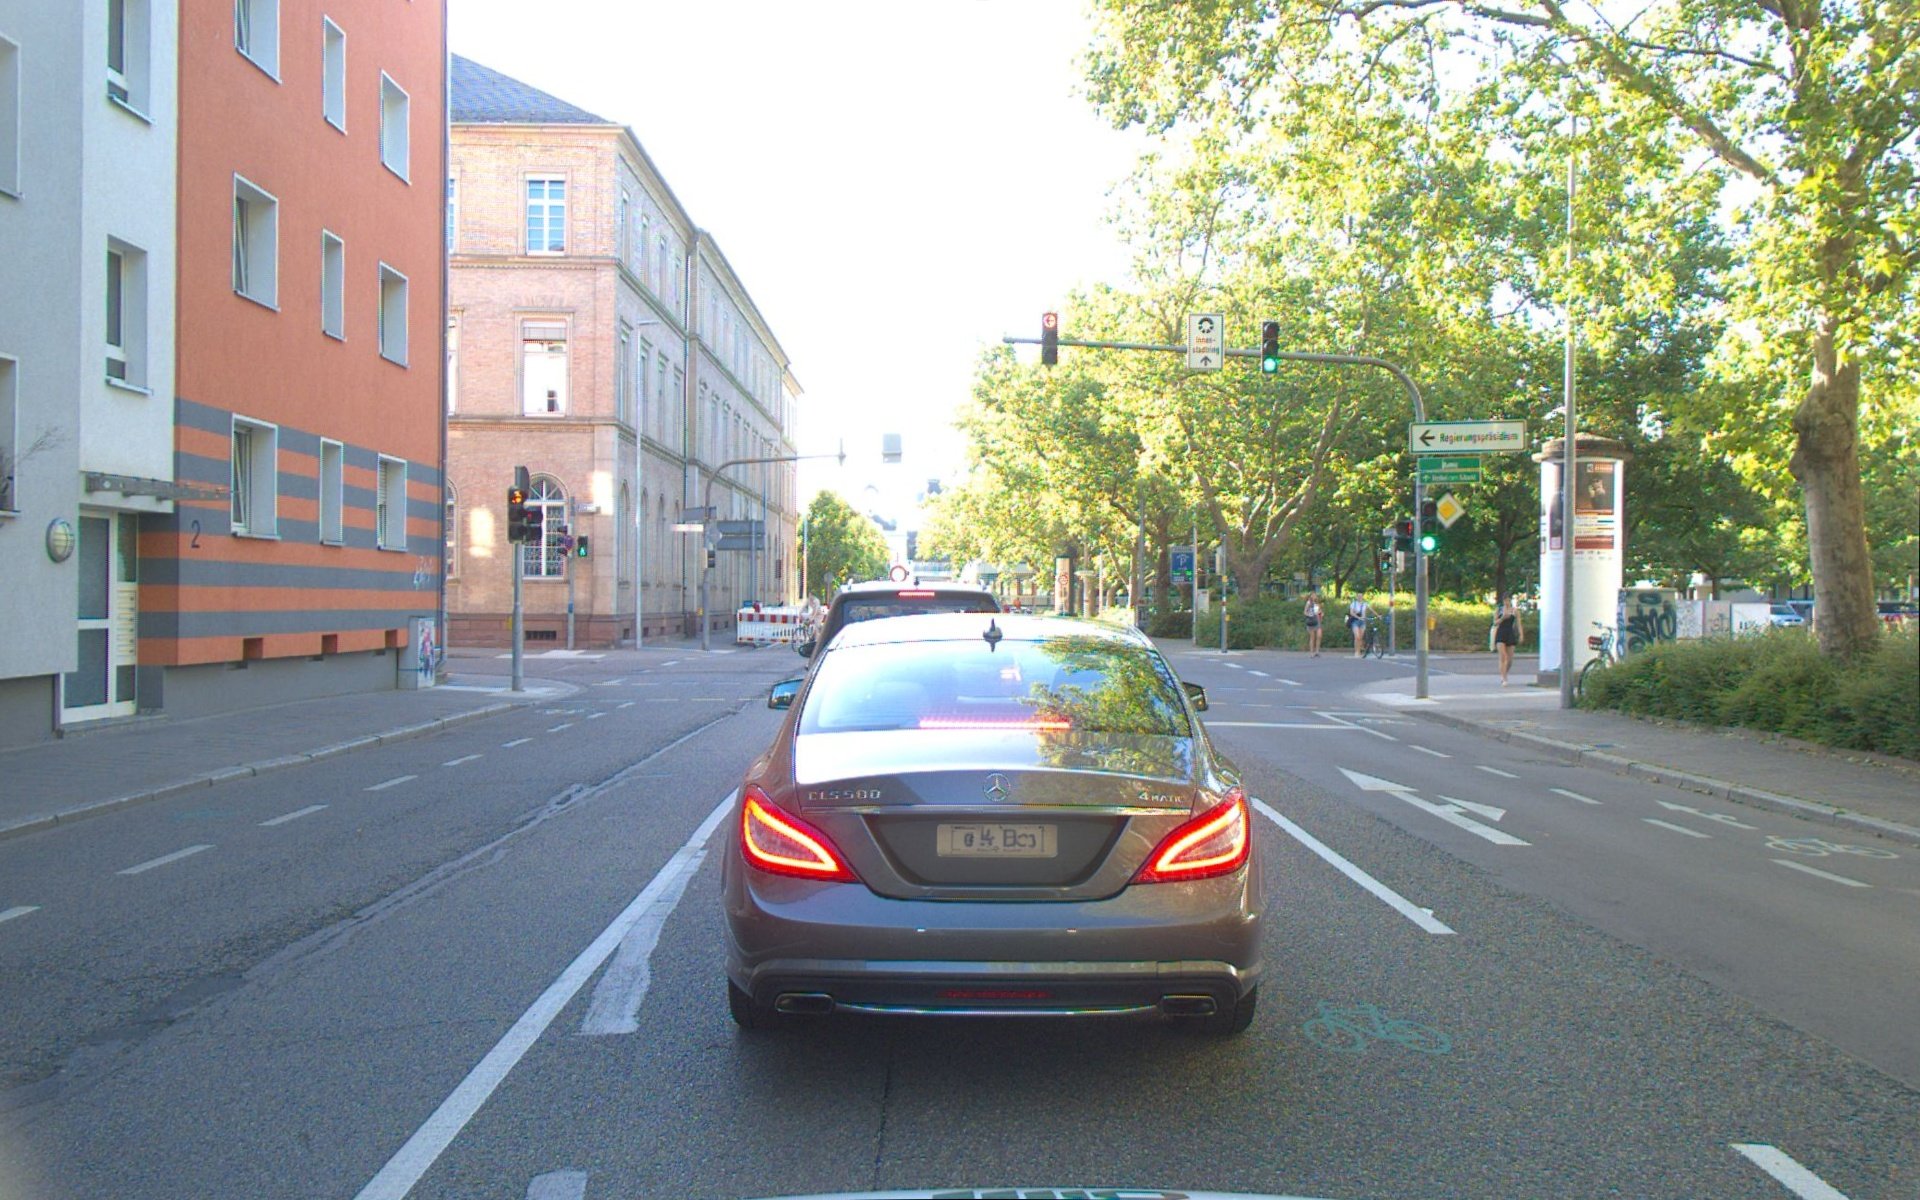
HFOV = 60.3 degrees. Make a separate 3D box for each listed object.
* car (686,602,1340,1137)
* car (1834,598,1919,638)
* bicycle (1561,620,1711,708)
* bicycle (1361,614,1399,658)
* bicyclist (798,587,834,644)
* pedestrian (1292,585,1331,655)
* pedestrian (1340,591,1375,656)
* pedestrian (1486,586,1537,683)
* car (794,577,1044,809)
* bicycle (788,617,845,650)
[{"bbox_3d":[0.241,0.758,6.885,1.804,1.454,4.518,1,0,2],"label":"car"},{"bbox_3d":[36.271,0.701,65.153,1.596,1.508,3.794,1,0,-2],"label":"car"},{"bbox_3d":[9.701,0.911,23.765,1.936,1.210,0.528,1,-1,-2],"label":"bicycle"},{"bbox_3d":[11.193,0.948,44.095,0.513,1.119,1.741,1,0,-2],"label":"bicycle"},{"bbox_3d":[-4.100,0.441,47.021,0.637,1.586,0.804,1,-1,36],"label":"bicyclist"},{"bbox_3d":[9.443,0.544,44.421,0.719,1.840,0.907,0,-1,-11],"label":"pedestrian"},{"bbox_3d":[10.667,0.624,44.359,0.669,1.727,0.970,1,0,-1],"label":"pedestrian"},{"bbox_3d":[9.668,0.608,29.029,0.781,1.659,0.908,-1,-1,16],"label":"pedestrian"},{"bbox_3d":[-0.261,0.666,13.725,1.772,1.641,4.000,0,0,1],"label":"car"},{"bbox_3d":[-4.074,0.957,47.073,0.539,0.906,1.861,1,0,35],"label":"bicycle"}]
